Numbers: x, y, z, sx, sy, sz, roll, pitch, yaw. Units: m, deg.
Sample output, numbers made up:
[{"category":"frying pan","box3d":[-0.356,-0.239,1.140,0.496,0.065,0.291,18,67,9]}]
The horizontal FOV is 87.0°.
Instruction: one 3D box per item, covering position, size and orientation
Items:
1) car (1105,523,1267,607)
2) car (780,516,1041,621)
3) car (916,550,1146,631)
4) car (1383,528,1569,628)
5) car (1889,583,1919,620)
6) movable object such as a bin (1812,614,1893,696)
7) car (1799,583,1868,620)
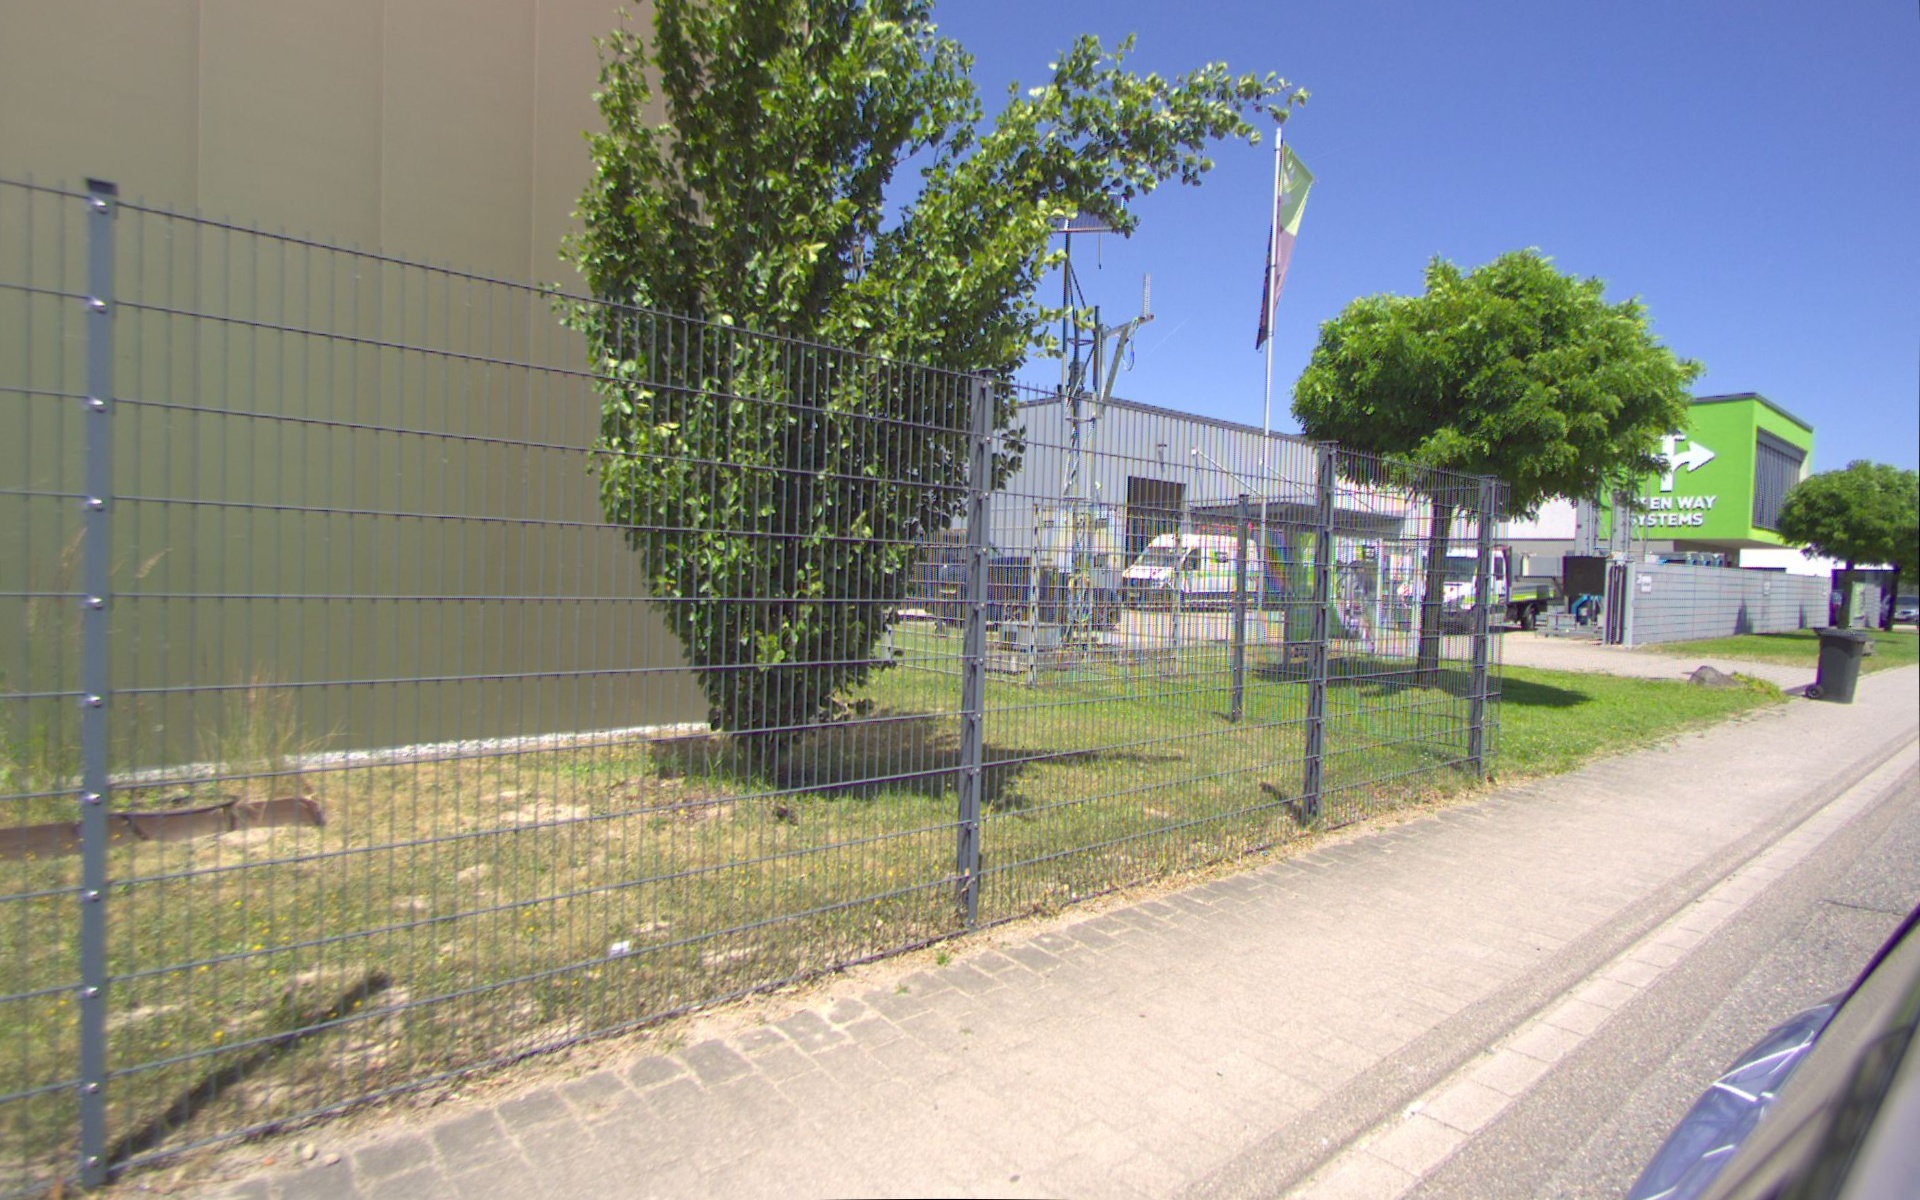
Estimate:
[{"category":"car","box3d":[7.617,-1.150,33.758,5.757,2.524,2.135,0,4,-41]},{"category":"car","box3d":[-0.937,-0.624,21.877,5.554,2.021,1.998,1,2,-41]},{"category":"car","box3d":[1.523,-0.199,20.546,4.530,1.456,1.998,1,2,-40]},{"category":"car","box3d":[14.891,-0.634,28.950,6.902,2.524,2.135,0,4,-41]},{"category":"car","box3d":[45.231,0.066,47.647,3.951,1.653,1.726,0,1,-41]},{"category":"movable object such as a bin","box3d":[11.264,0.683,12.782,0.511,0.939,0.555,0,5,-30]},{"category":"car","box3d":[38.520,0.013,44.607,3.985,1.415,1.742,-2,4,-41]}]
